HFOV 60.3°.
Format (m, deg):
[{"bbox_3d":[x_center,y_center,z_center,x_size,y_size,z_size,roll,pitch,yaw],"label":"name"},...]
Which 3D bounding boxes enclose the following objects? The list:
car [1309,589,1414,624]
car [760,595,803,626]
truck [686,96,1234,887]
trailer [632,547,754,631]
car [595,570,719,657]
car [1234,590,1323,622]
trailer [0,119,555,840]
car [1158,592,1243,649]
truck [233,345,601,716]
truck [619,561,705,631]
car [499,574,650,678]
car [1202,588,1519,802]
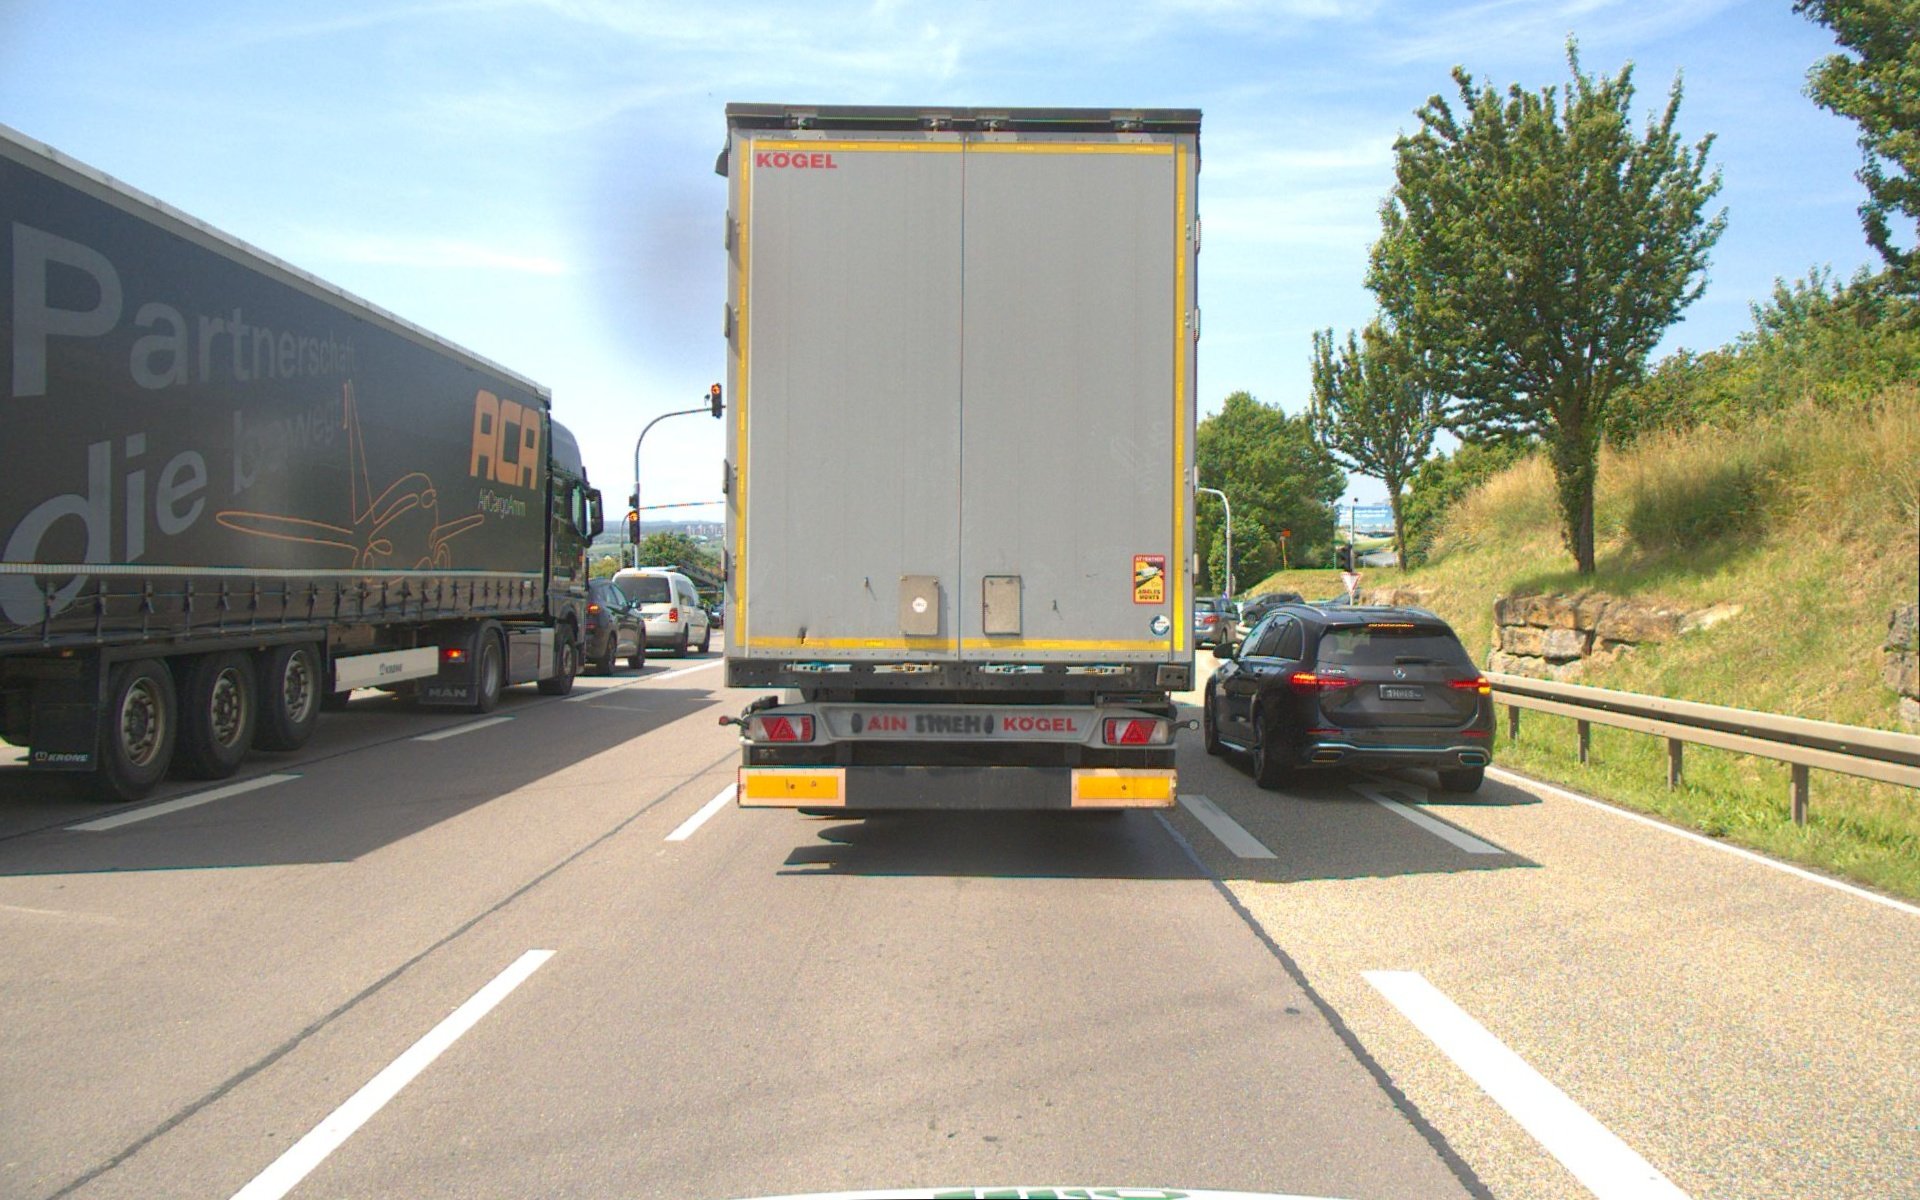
[{"bbox_3d":[18.010,0.288,74.229,4.279,1.537,1.712,0,0,-10],"label":"car"},{"bbox_3d":[-9.408,0.539,87.576,1.700,1.554,4.001,1,0,2],"label":"car"},{"bbox_3d":[-0.054,-0.541,14.138,2.742,3.998,11.339,1,0,-1],"label":"truck"},{"bbox_3d":[-13.458,-0.462,85.572,2.584,3.829,19.802,0,0,2],"label":"trailer"},{"bbox_3d":[-6.795,0.275,37.546,1.731,1.830,4.753,1,0,2],"label":"car"},{"bbox_3d":[15.504,0.269,80.588,3.912,1.537,1.713,0,0,-8],"label":"car"},{"bbox_3d":[-6.679,-0.688,14.704,2.726,3.982,13.786,1,0,0],"label":"trailer"},{"bbox_3d":[7.481,0.618,51.132,1.759,1.669,4.000,1,0,21],"label":"car"},{"bbox_3d":[-6.693,-0.775,21.388,2.726,4.083,5.970,1,0,0],"label":"truck"},{"bbox_3d":[-13.640,-0.145,76.071,2.741,3.066,5.990,0,0,1],"label":"truck"},{"bbox_3d":[-6.773,0.423,29.499,1.819,1.686,4.346,1,0,-3],"label":"car"},{"bbox_3d":[3.282,0.715,14.393,1.710,1.559,4.298,1,0,0],"label":"car"}]
